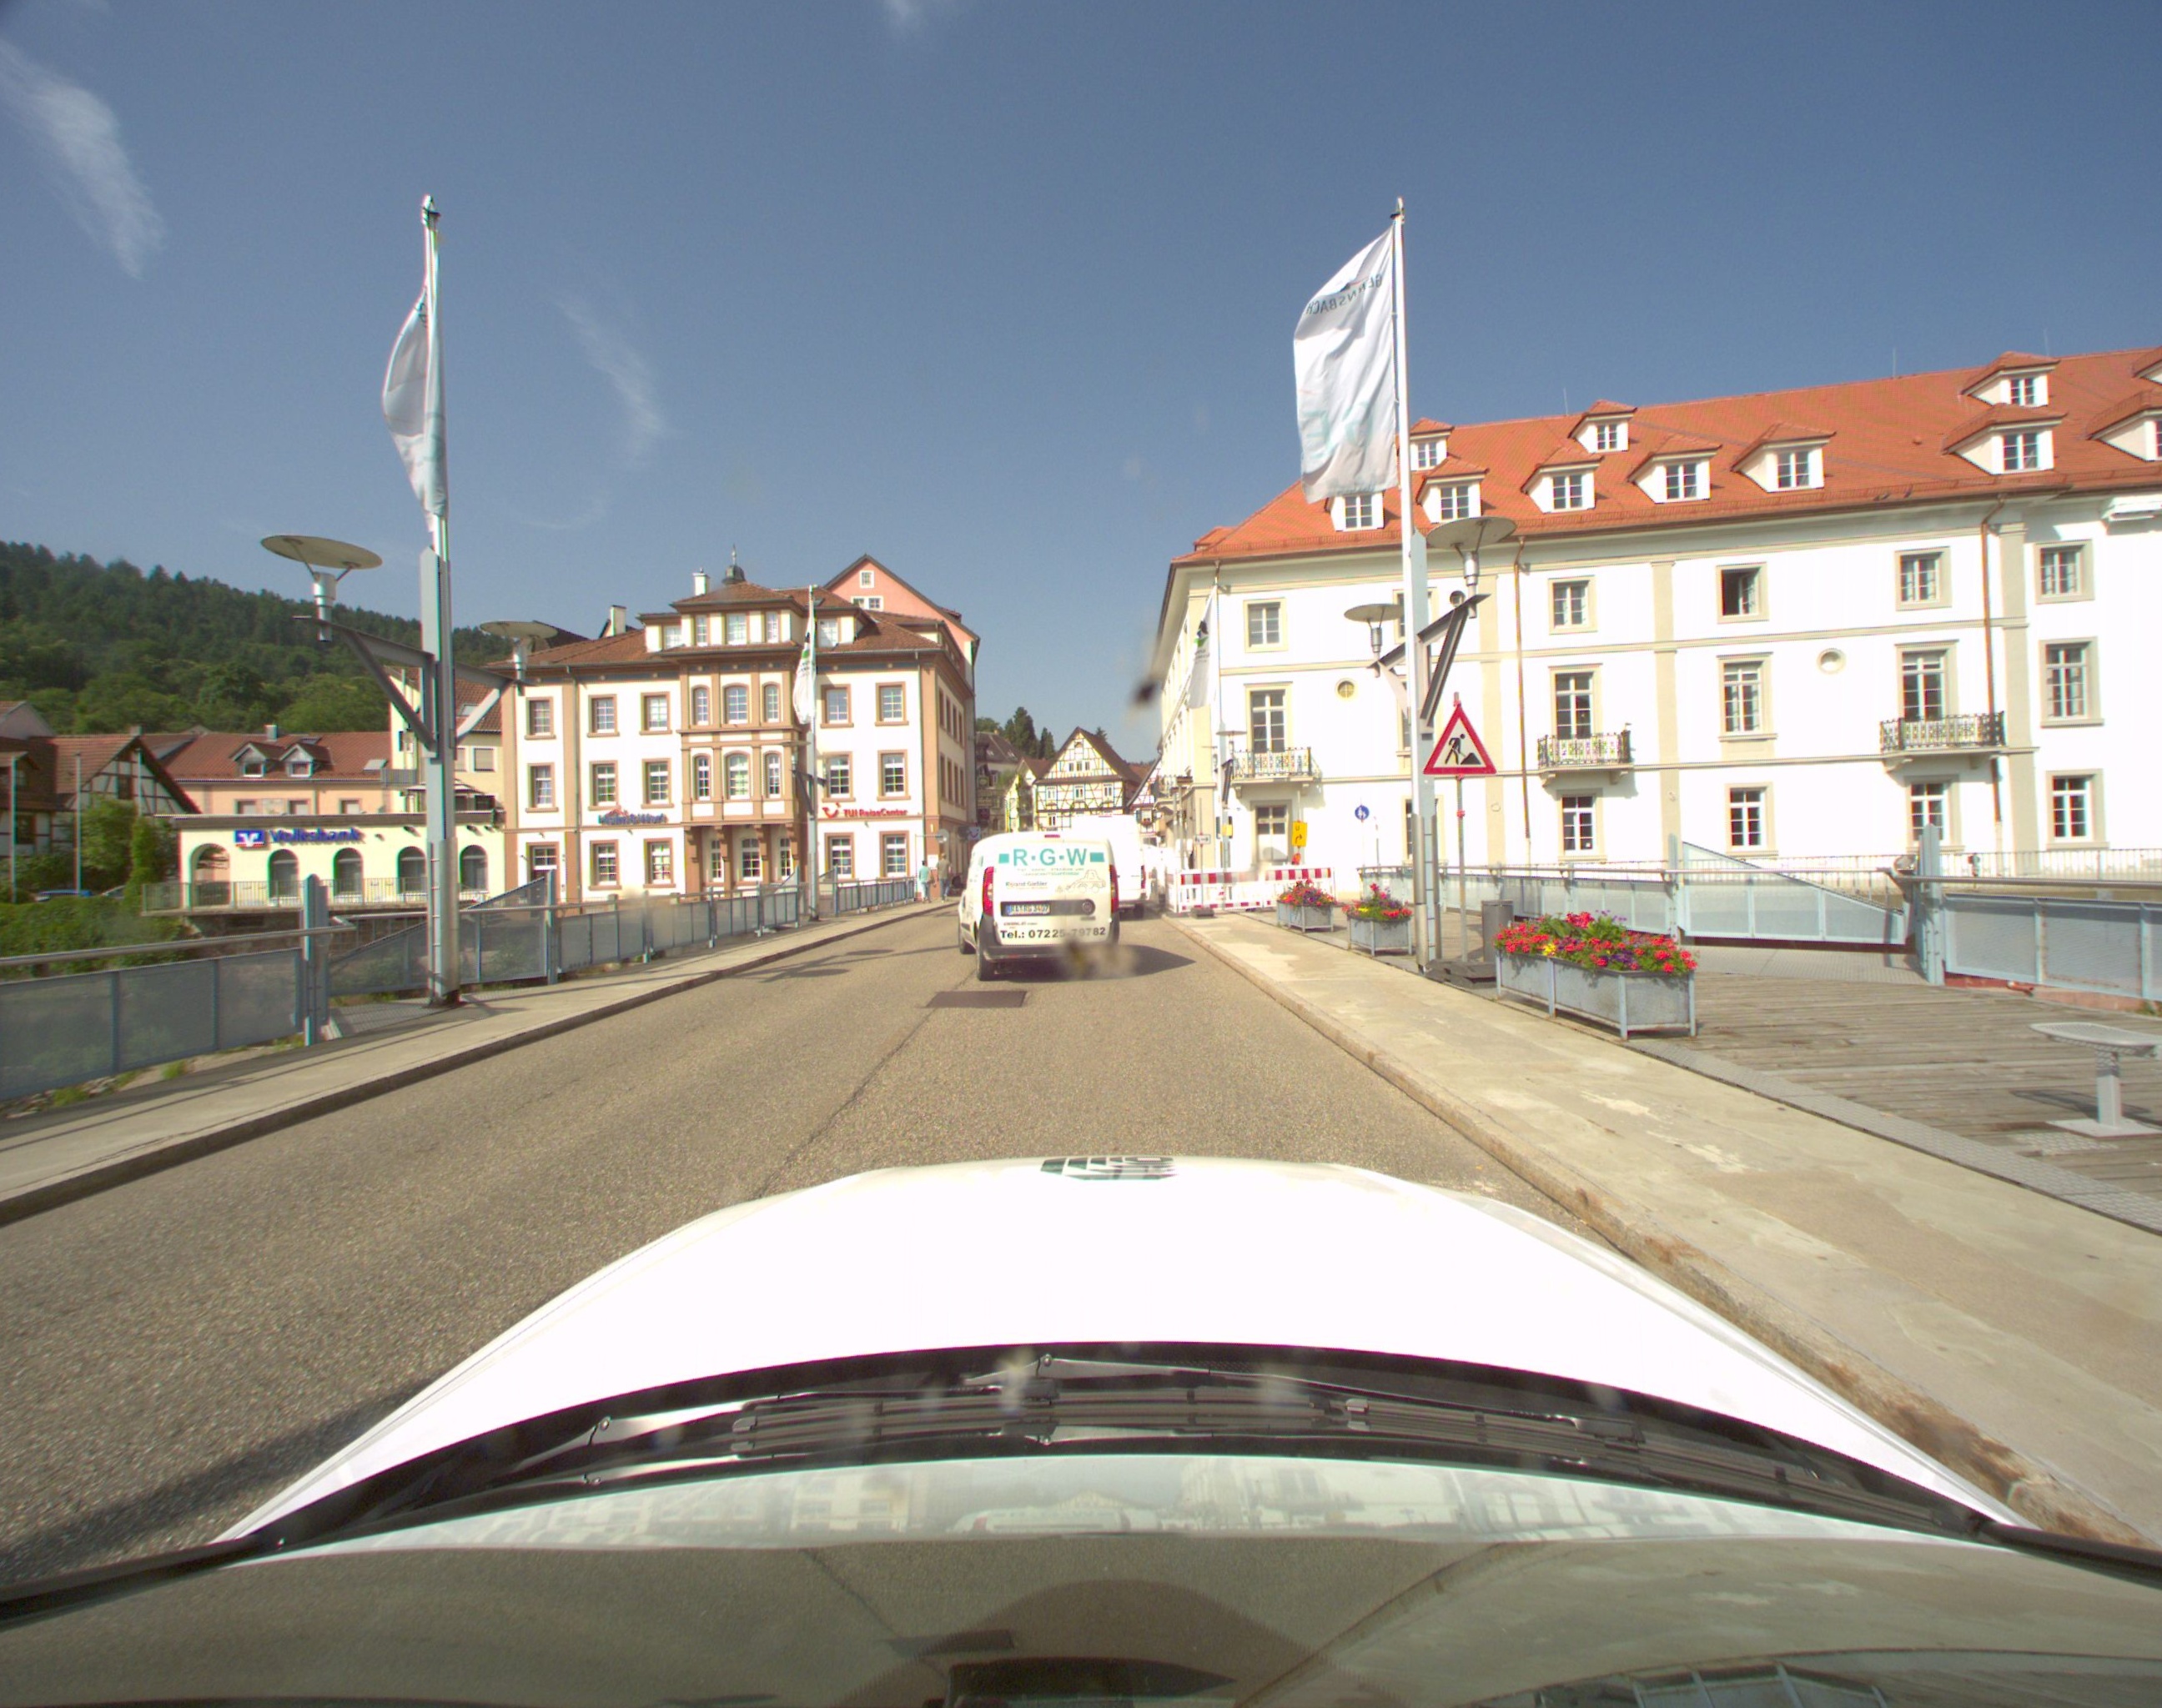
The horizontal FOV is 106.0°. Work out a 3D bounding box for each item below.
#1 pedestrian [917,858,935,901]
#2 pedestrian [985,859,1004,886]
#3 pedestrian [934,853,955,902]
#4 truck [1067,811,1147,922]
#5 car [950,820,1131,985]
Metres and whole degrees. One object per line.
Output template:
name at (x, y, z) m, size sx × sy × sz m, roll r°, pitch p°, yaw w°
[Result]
pedestrian at (-5.824, 0.948, 30.619) m, size 0.582 × 1.609 × 0.537 m, roll -1°, pitch 0°, yaw -2°
pedestrian at (-5.399, 1.165, 50.835) m, size 1.069 × 1.647 × 0.686 m, roll -2°, pitch 0°, yaw 2°
pedestrian at (-5.087, 0.858, 30.394) m, size 0.613 × 1.762 × 0.863 m, roll -1°, pitch 0°, yaw -2°
truck at (0.607, 0.295, 21.441) m, size 1.856 × 2.585 × 4.259 m, roll -1°, pitch 0°, yaw -1°
car at (-0.796, 0.569, 11.751) m, size 1.846 × 1.906 × 4.295 m, roll -1°, pitch 0°, yaw -13°
